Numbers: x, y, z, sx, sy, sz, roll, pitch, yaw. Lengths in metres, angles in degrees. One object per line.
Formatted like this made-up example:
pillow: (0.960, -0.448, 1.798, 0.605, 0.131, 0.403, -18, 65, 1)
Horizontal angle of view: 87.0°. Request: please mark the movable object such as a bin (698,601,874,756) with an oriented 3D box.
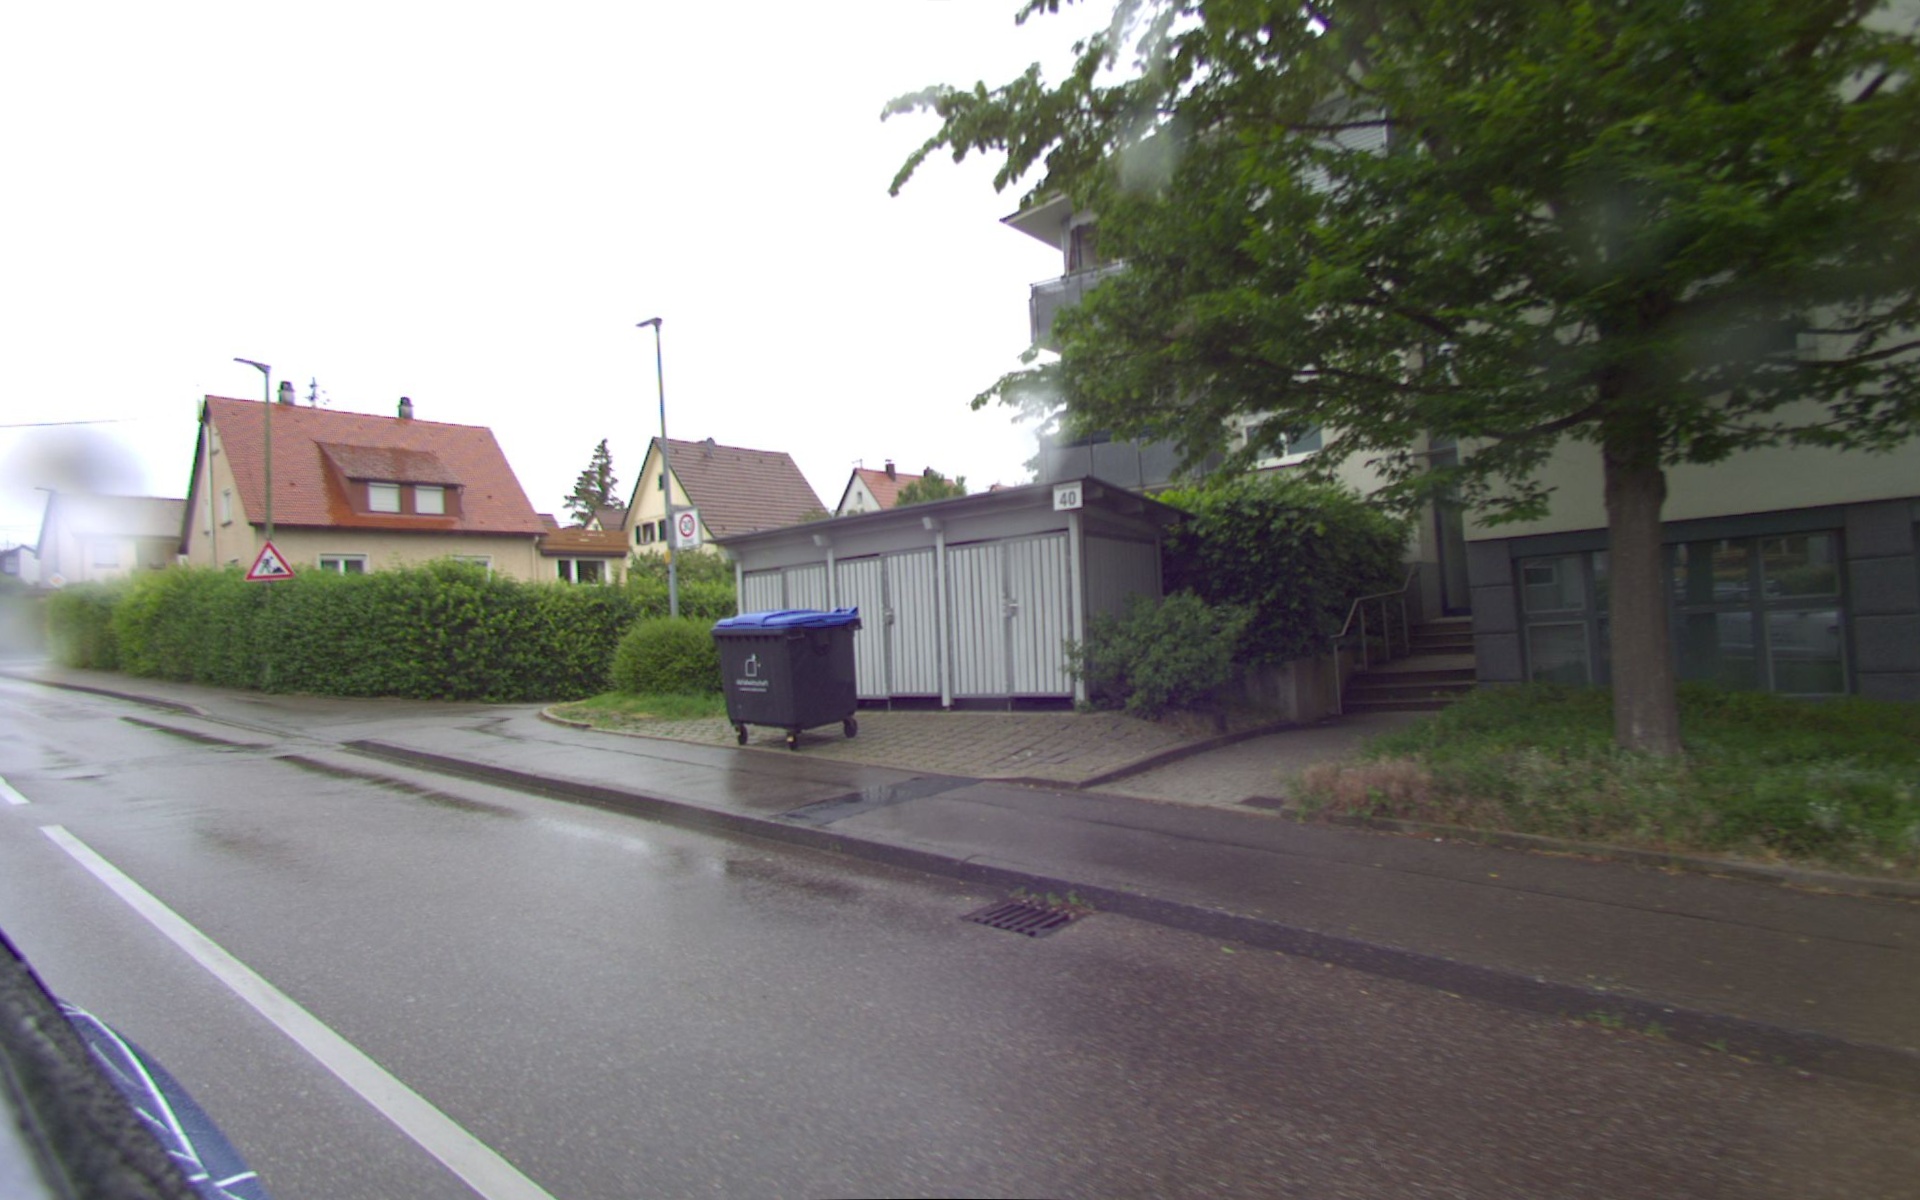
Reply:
movable object such as a bin: (-1.723, 0.730, 10.014, 1.318, 1.357, 1.061, -2, 1, 39)
